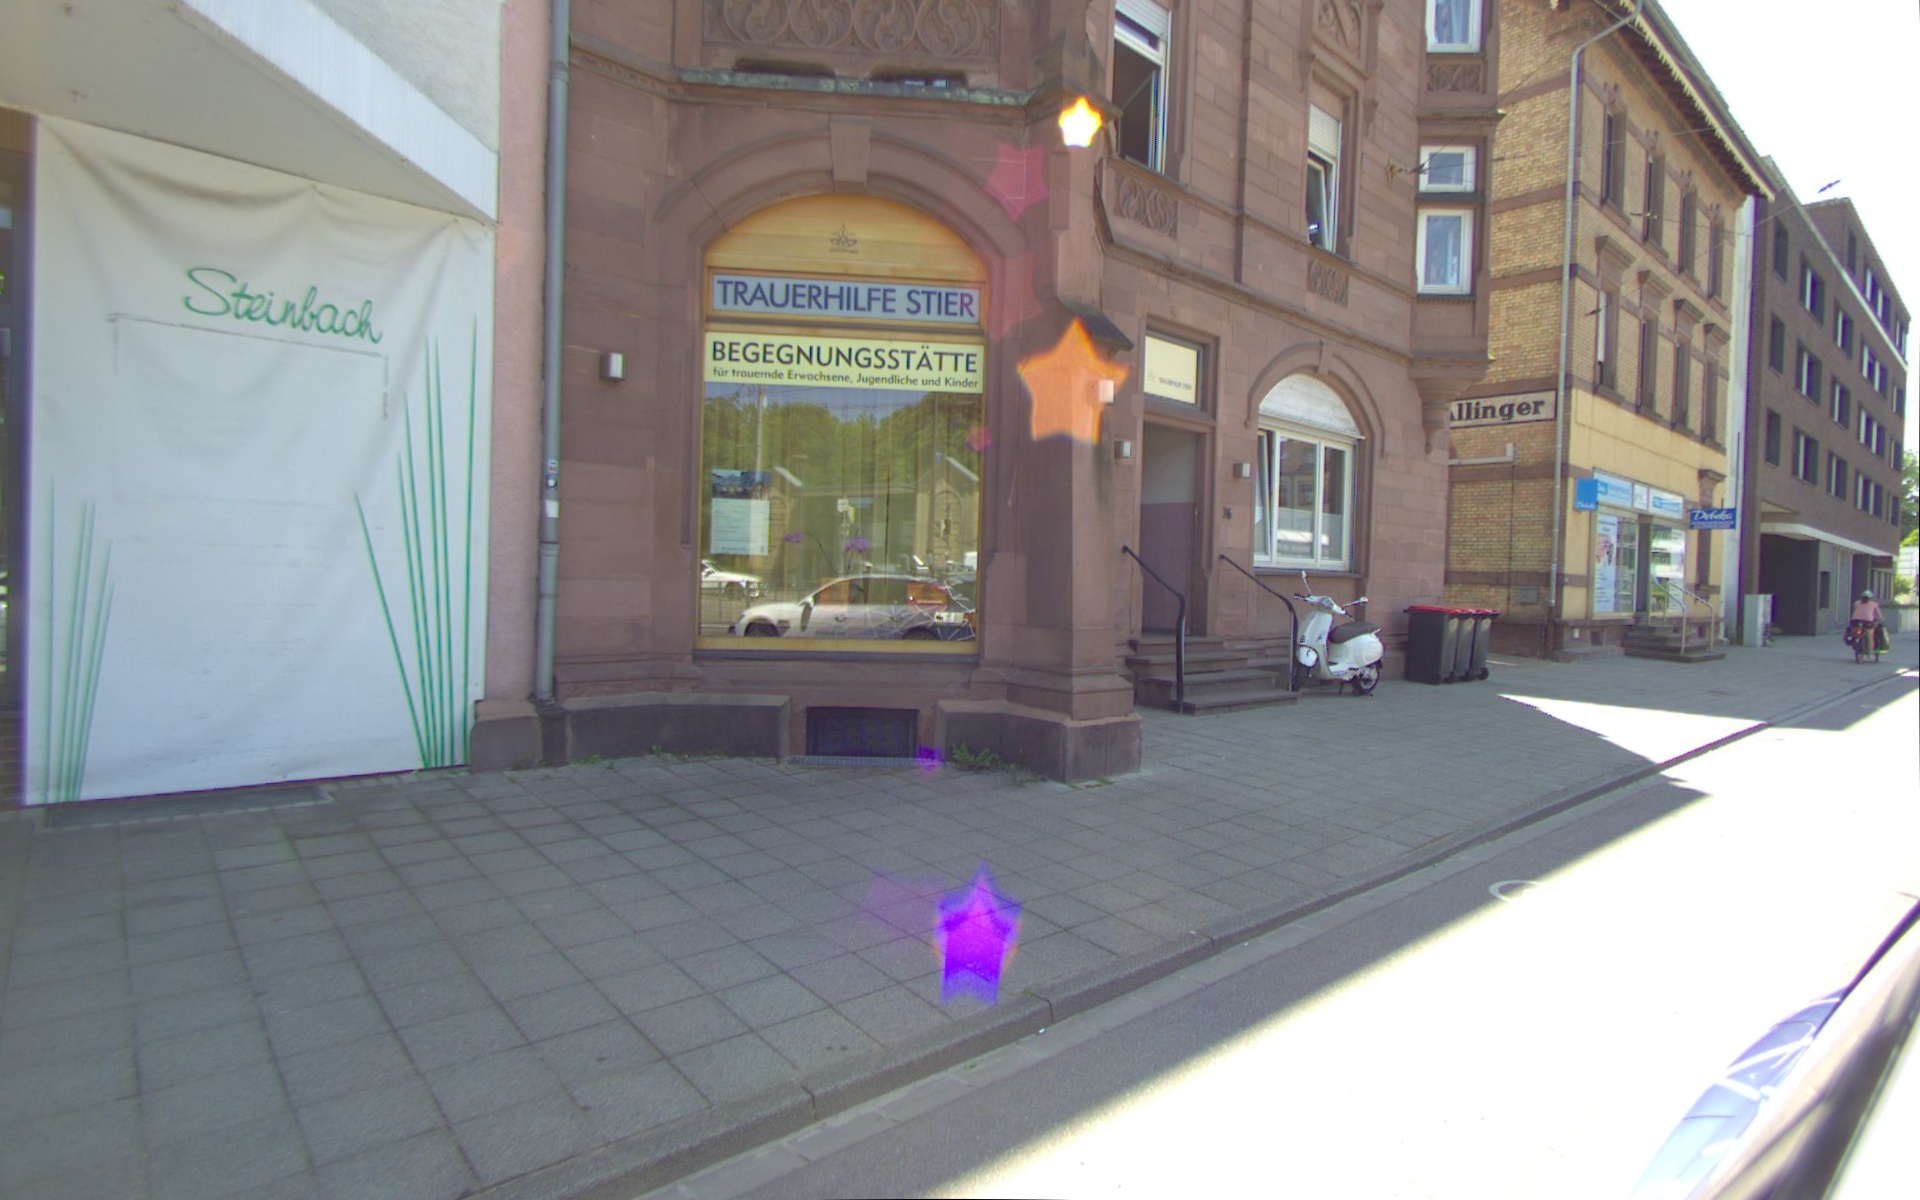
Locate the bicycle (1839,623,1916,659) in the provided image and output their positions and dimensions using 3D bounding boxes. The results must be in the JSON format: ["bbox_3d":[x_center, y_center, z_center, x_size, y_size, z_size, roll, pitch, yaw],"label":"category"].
[{"bbox_3d":[22.007,0.965,24.270,1.868,0.807,0.691,1,1,-25],"label":"bicycle"}]

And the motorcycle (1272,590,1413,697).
[{"bbox_3d":[4.476,0.479,11.795,1.843,1.163,0.529,1,1,-33],"label":"motorcycle"}]

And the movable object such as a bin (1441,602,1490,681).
[{"bbox_3d":[7.143,0.575,14.297,0.549,1.061,0.376,1,3,-42],"label":"movable object such as a bin"}]

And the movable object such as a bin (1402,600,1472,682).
[{"bbox_3d":[6.613,0.548,14.037,0.549,1.061,0.649,1,4,-42],"label":"movable object such as a bin"}]

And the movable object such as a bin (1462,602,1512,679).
[{"bbox_3d":[7.640,0.580,14.673,0.646,1.061,0.376,1,4,-42],"label":"movable object such as a bin"}]

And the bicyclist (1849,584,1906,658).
[{"bbox_3d":[21.968,0.490,24.246,0.909,1.744,0.673,1,1,-25],"label":"bicyclist"}]
